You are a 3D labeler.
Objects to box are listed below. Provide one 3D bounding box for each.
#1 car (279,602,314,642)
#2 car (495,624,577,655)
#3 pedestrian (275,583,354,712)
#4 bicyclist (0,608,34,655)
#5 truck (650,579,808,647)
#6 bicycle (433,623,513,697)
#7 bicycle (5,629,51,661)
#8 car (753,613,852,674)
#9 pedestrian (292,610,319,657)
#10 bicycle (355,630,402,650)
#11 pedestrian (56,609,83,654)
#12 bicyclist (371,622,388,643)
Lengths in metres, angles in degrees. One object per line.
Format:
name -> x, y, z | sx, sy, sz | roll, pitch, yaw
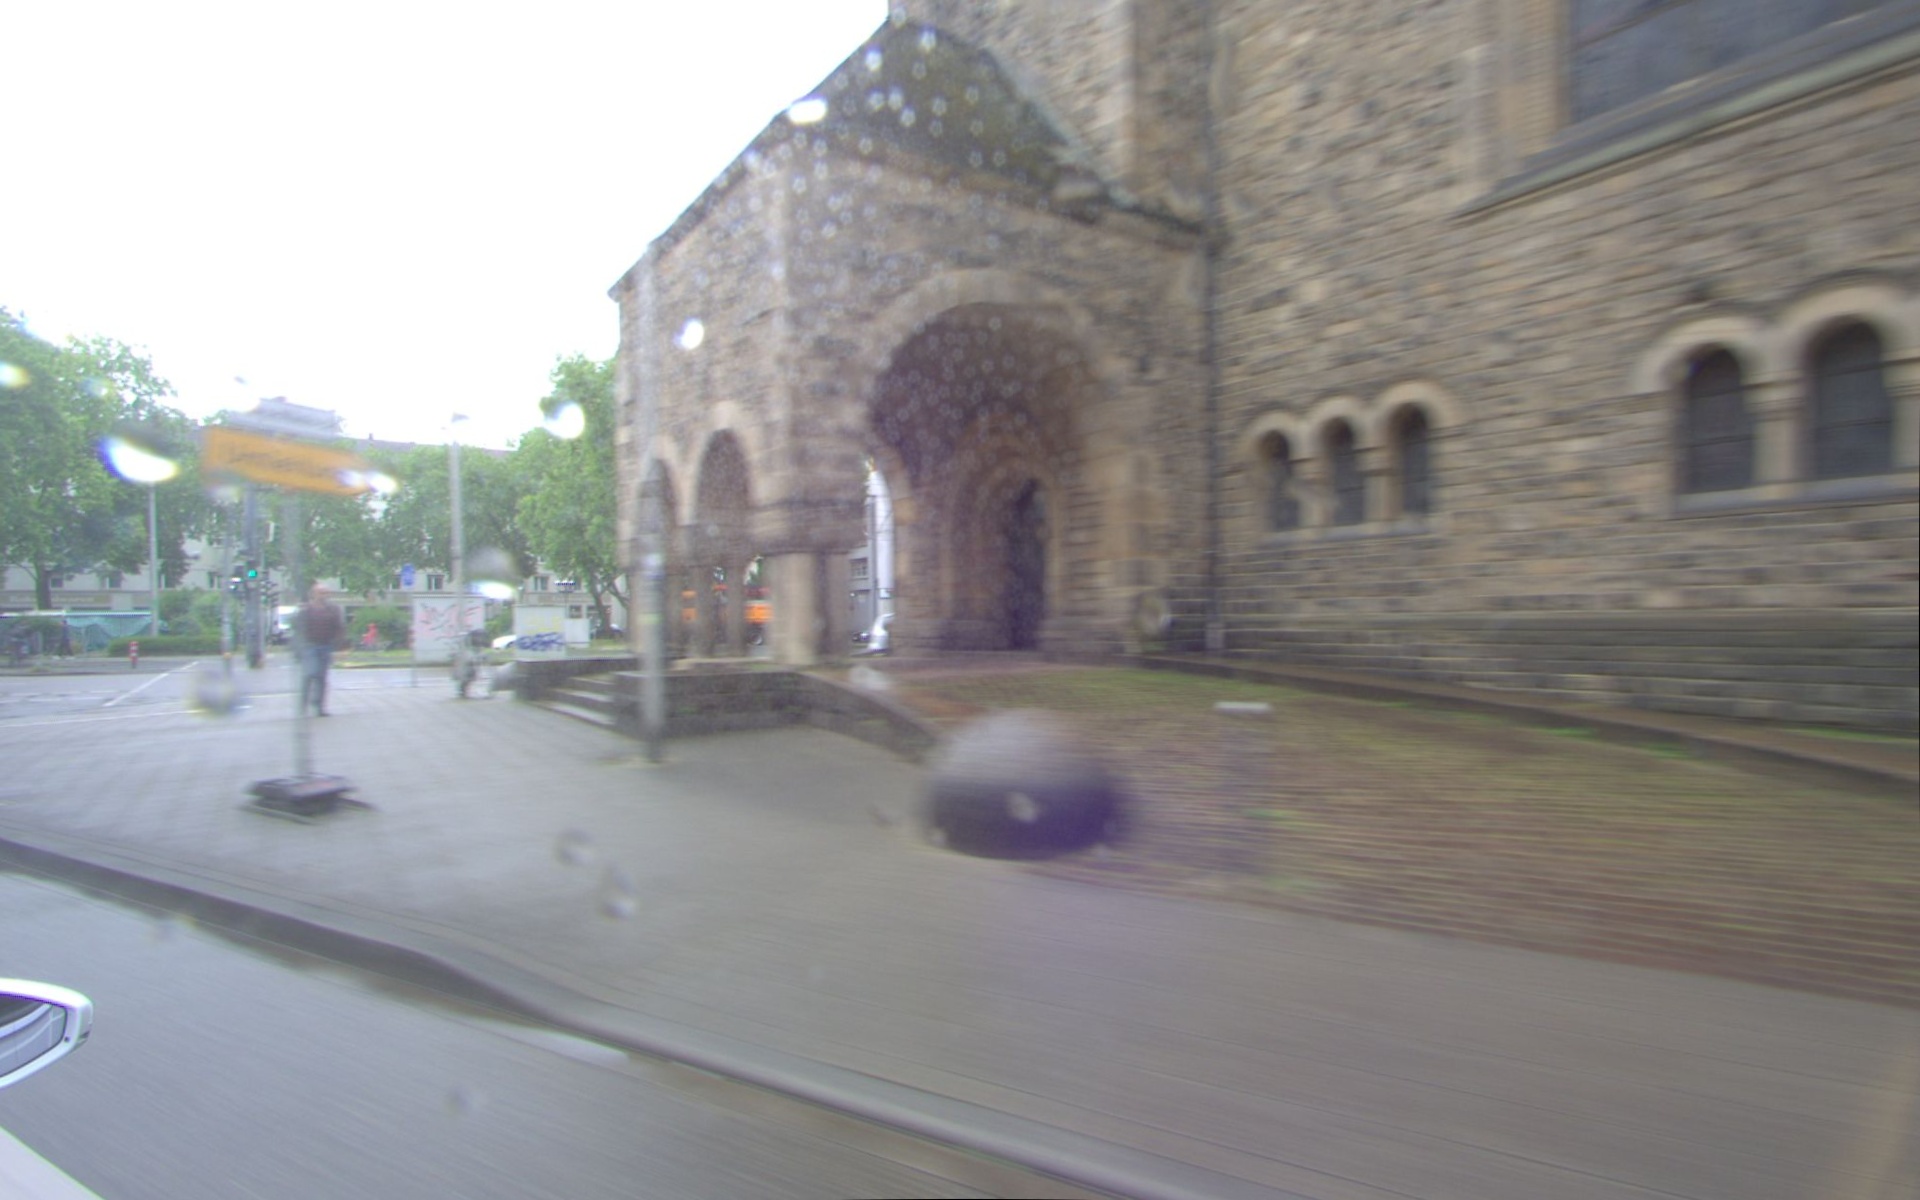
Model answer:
car -> -44.820, 1.462, 67.702 | 1.887, 2.588, 4.757 | -1, -1, -33
car -> -21.319, 1.953, 50.345 | 3.527, 1.405, 1.617 | 0, 0, -36
pedestrian -> -9.307, 0.658, 14.426 | 0.780, 1.782, 0.936 | -1, 1, -43
bicyclist -> -33.245, 1.095, 35.322 | 0.679, 1.639, 0.878 | -2, 1, -32
truck -> -12.783, 0.721, 55.921 | 8.327, 3.570, 2.362 | 0, 0, -34
bicycle -> -8.212, 0.984, 16.842 | 2.049, 1.169, 0.327 | -1, 0, 38
bicycle -> -33.113, 1.569, 35.617 | 0.684, 1.035, 2.642 | -1, 0, -32
car -> -4.240, 1.123, 26.654 | 1.388, 1.498, 3.201 | 0, -1, -34
pedestrian -> -23.906, 1.222, 36.567 | 0.775, 1.667, 0.651 | -1, 1, -34
bicycle -> -28.486, 1.971, 49.061 | 1.947, 0.923, 0.556 | 0, 0, -34
pedestrian -> -40.691, 1.428, 45.761 | 0.796, 2.040, 0.586 | -1, 0, -31
bicyclist -> -28.462, 1.592, 49.073 | 0.672, 1.039, 0.556 | 0, 0, -34
